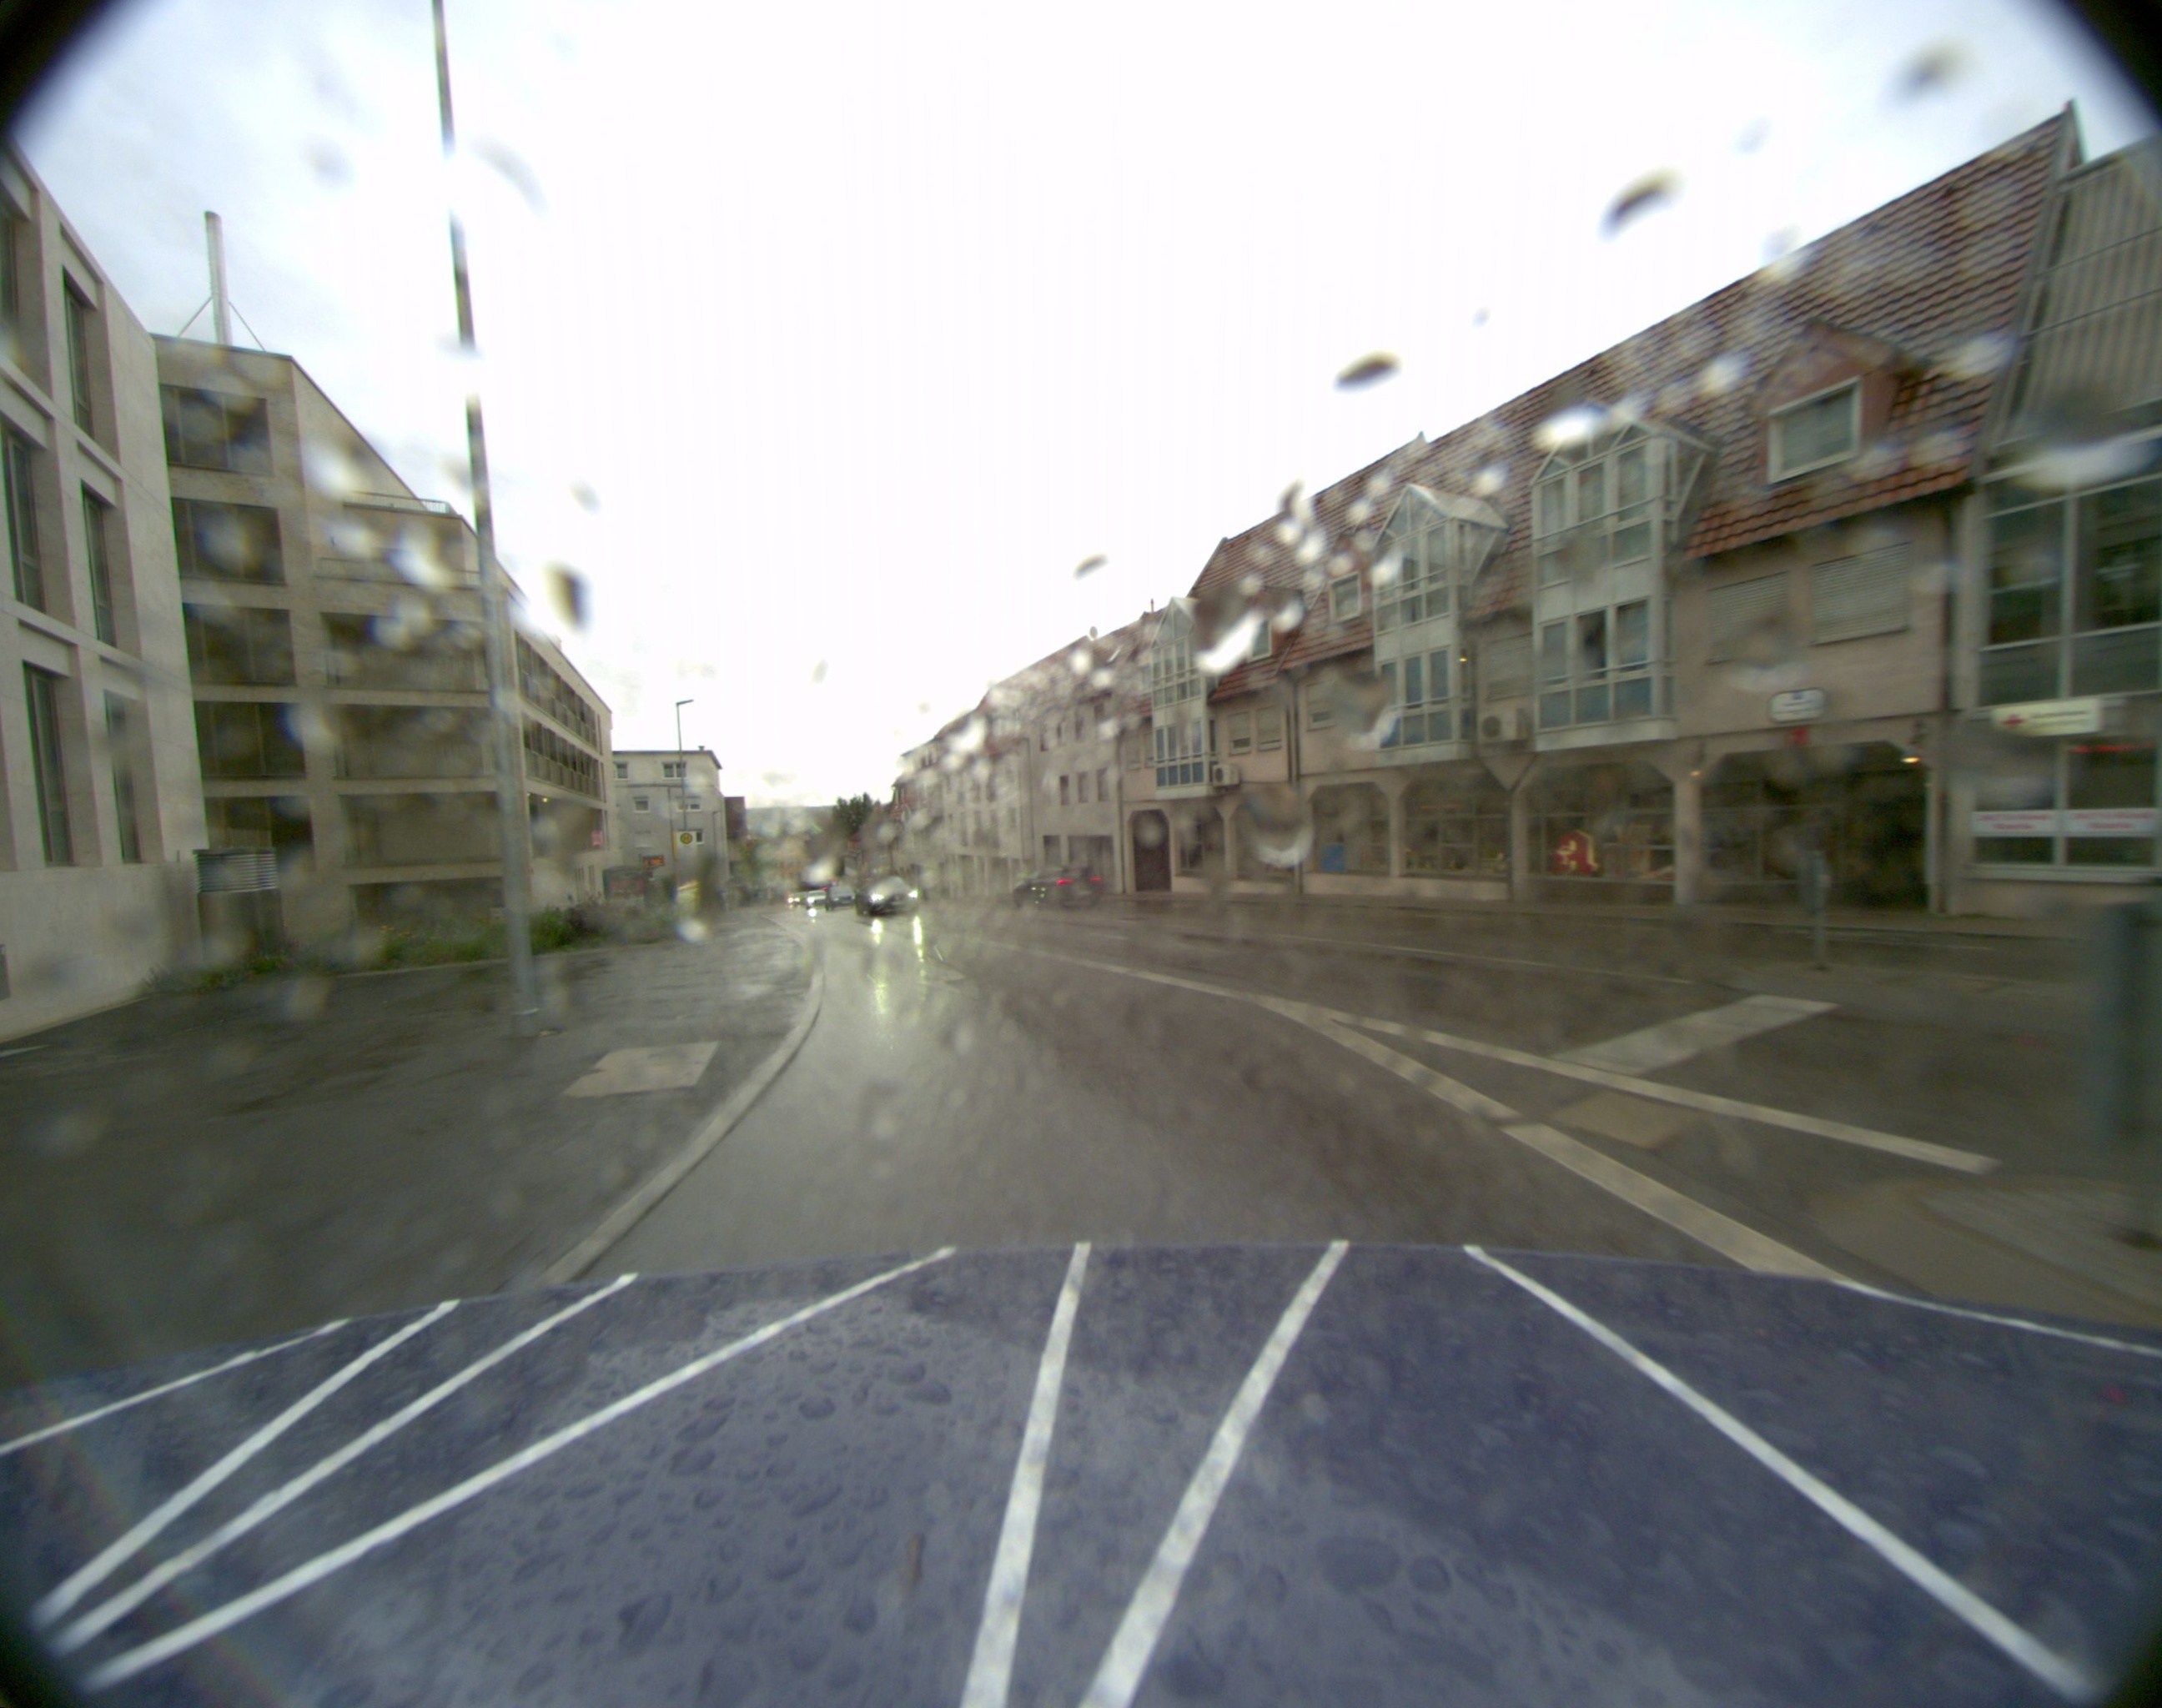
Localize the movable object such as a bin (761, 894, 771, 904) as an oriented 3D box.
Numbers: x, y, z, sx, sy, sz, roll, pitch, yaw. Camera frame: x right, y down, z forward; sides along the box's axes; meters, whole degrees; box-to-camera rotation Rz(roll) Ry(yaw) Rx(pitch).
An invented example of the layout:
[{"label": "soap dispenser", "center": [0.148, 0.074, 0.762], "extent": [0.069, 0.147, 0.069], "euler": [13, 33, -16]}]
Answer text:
[{"label": "movable object such as a bin", "center": [-43.506, 6.176, 104.939], "extent": [1.240, 1.327, 1.171], "euler": [-3, -2, -20]}]

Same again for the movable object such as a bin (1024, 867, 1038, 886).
[{"label": "movable object such as a bin", "center": [-2.732, 1.241, 41.432], "extent": [0.510, 1.000, 0.584], "euler": [-4, -1, -26]}]

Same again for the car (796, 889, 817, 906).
[{"label": "car", "center": [-29.276, 4.610, 80.993], "extent": [1.970, 1.597, 4.378], "euler": [-4, -2, -21]}]

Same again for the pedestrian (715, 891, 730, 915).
[{"label": "pedestrian", "center": [-23.236, 3.174, 49.283], "extent": [0.739, 1.532, 1.036], "euler": [-1, -2, -19]}]

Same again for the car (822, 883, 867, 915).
[{"label": "car", "center": [-14.811, 2.821, 47.424], "extent": [1.971, 1.759, 4.377], "euler": [-4, -2, -25]}]

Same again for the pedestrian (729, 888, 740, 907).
[{"label": "pedestrian", "center": [-28.903, 3.649, 63.365], "extent": [0.693, 1.546, 0.709], "euler": [-4, -1, -28]}]

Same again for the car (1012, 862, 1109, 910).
[{"label": "car", "center": [-0.808, 1.085, 26.221], "extent": [1.895, 1.458, 3.993], "euler": [-2, -1, -24]}]

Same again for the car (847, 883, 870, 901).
[{"label": "car", "center": [-21.031, 3.604, 71.787], "extent": [1.566, 1.526, 3.444], "euler": [-2, -2, -23]}]

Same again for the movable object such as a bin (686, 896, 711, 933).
[{"label": "movable object such as a bin", "center": [-11.620, 1.823, 23.109], "extent": [0.598, 1.056, 0.578], "euler": [-3, -1, -23]}]

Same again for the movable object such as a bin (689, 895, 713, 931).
[{"label": "movable object such as a bin", "center": [-11.896, 1.848, 23.792], "extent": [0.598, 1.056, 0.578], "euler": [-3, -1, -23]}]

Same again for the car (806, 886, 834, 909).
[{"label": "car", "center": [-21.276, 3.565, 61.803], "extent": [1.970, 1.597, 4.378], "euler": [-4, -2, -21]}]

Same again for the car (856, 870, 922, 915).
[{"label": "car", "center": [-7.900, 1.554, 30.905], "extent": [1.970, 1.548, 4.616], "euler": [-4, -1, -21]}]
